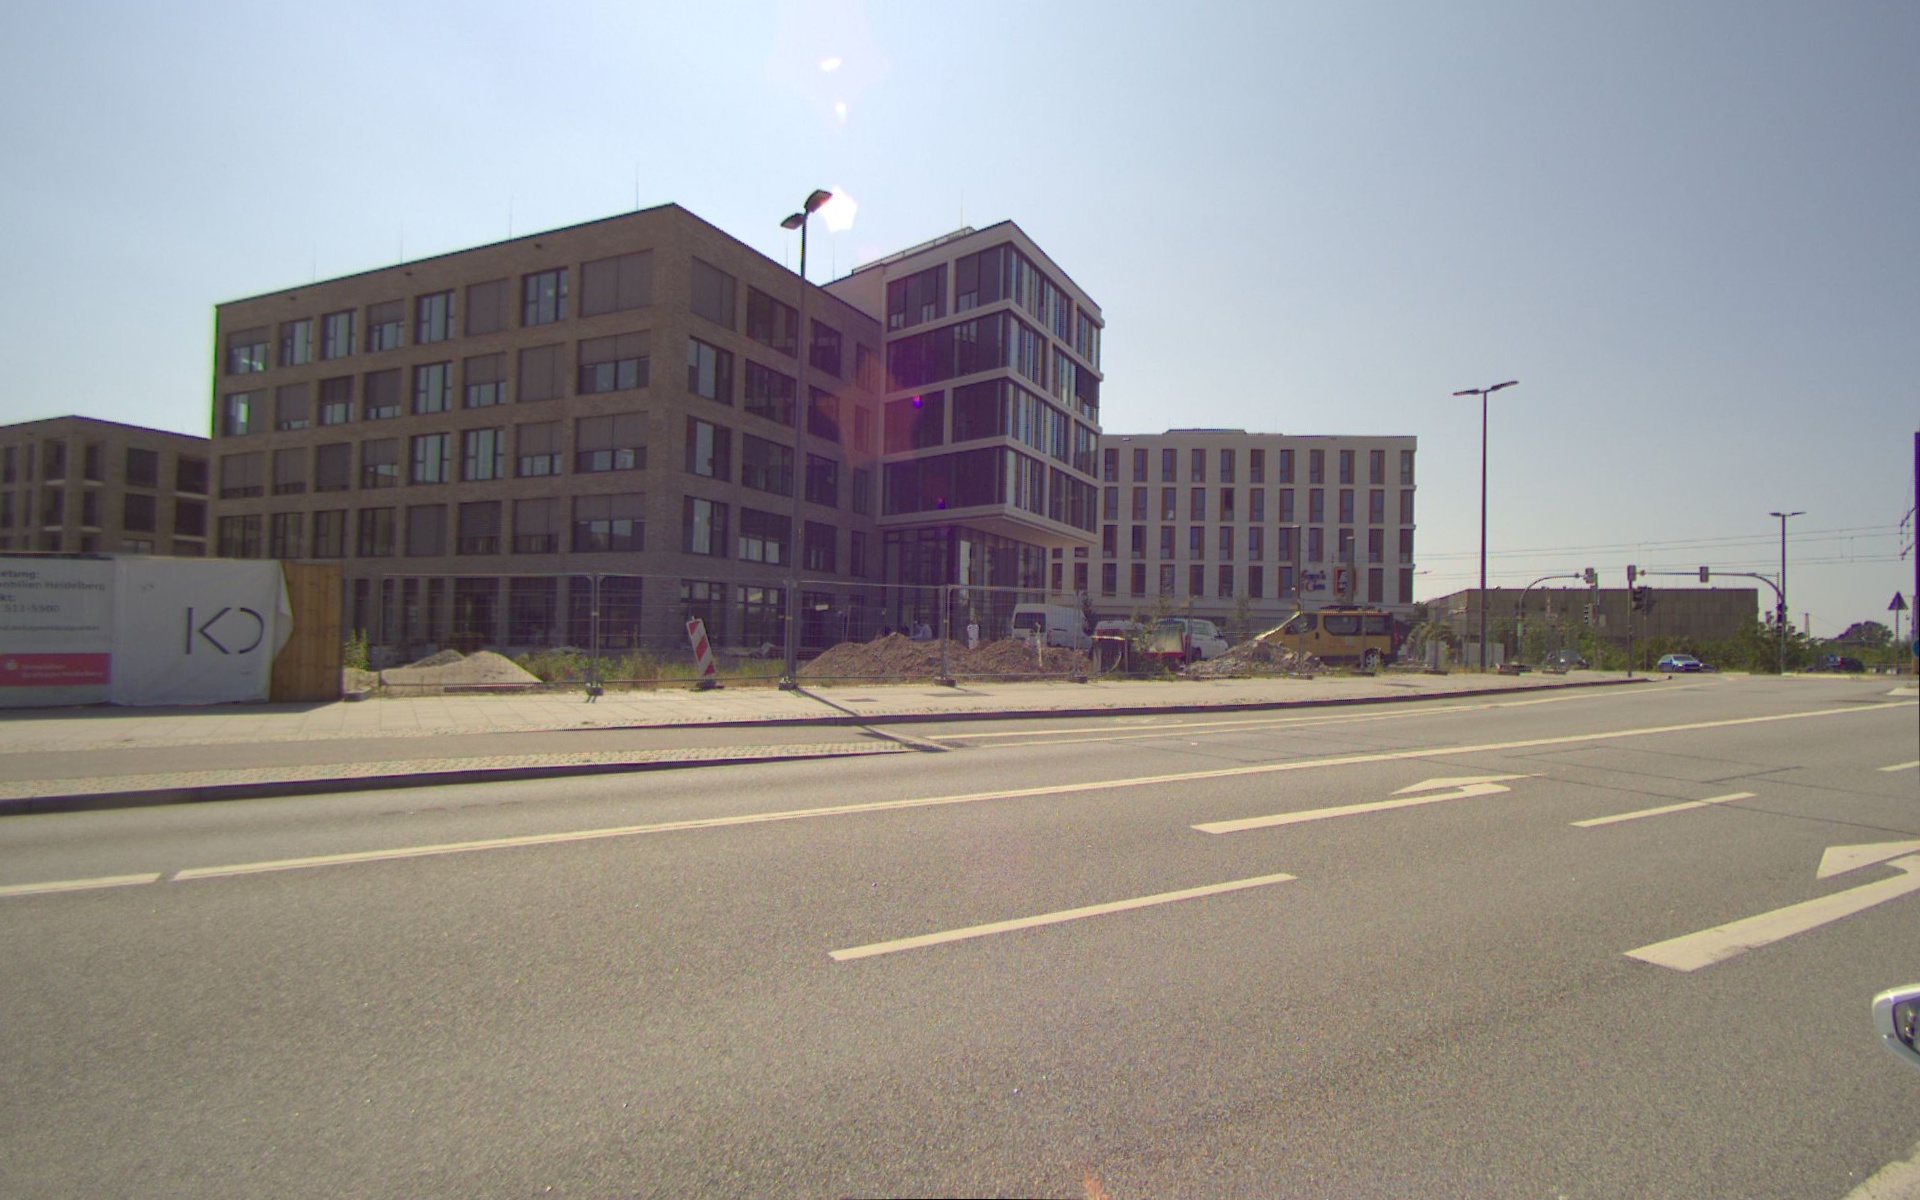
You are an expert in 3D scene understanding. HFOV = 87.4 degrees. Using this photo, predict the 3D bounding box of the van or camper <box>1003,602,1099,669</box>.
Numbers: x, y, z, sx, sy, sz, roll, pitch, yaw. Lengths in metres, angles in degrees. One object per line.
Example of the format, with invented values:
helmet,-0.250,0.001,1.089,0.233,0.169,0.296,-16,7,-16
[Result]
van or camper,4.160,1.551,45.133,2.273,2.772,4.975,2,0,32

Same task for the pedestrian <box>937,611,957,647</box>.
pedestrian,-0.641,1.410,48.931,0.734,1.741,0.699,2,0,16

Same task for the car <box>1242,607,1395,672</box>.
car,11.966,1.291,33.813,4.533,1.988,1.991,2,0,9

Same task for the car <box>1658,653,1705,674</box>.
car,52.729,4.604,73.463,1.787,1.348,4.000,2,-2,20

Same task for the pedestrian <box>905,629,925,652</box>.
pedestrian,-2.109,1.886,47.312,0.734,1.041,0.699,2,0,16

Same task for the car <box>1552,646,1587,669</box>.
car,44.383,4.155,73.212,1.646,1.496,3.405,0,-1,22

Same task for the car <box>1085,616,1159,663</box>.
car,7.090,1.692,43.681,1.760,1.881,3.842,2,0,32

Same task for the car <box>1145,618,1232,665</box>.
car,9.655,1.687,42.166,1.841,1.797,4.637,2,0,36

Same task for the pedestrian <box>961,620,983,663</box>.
pedestrian,0.497,1.747,42.389,0.734,1.741,0.699,2,0,16
